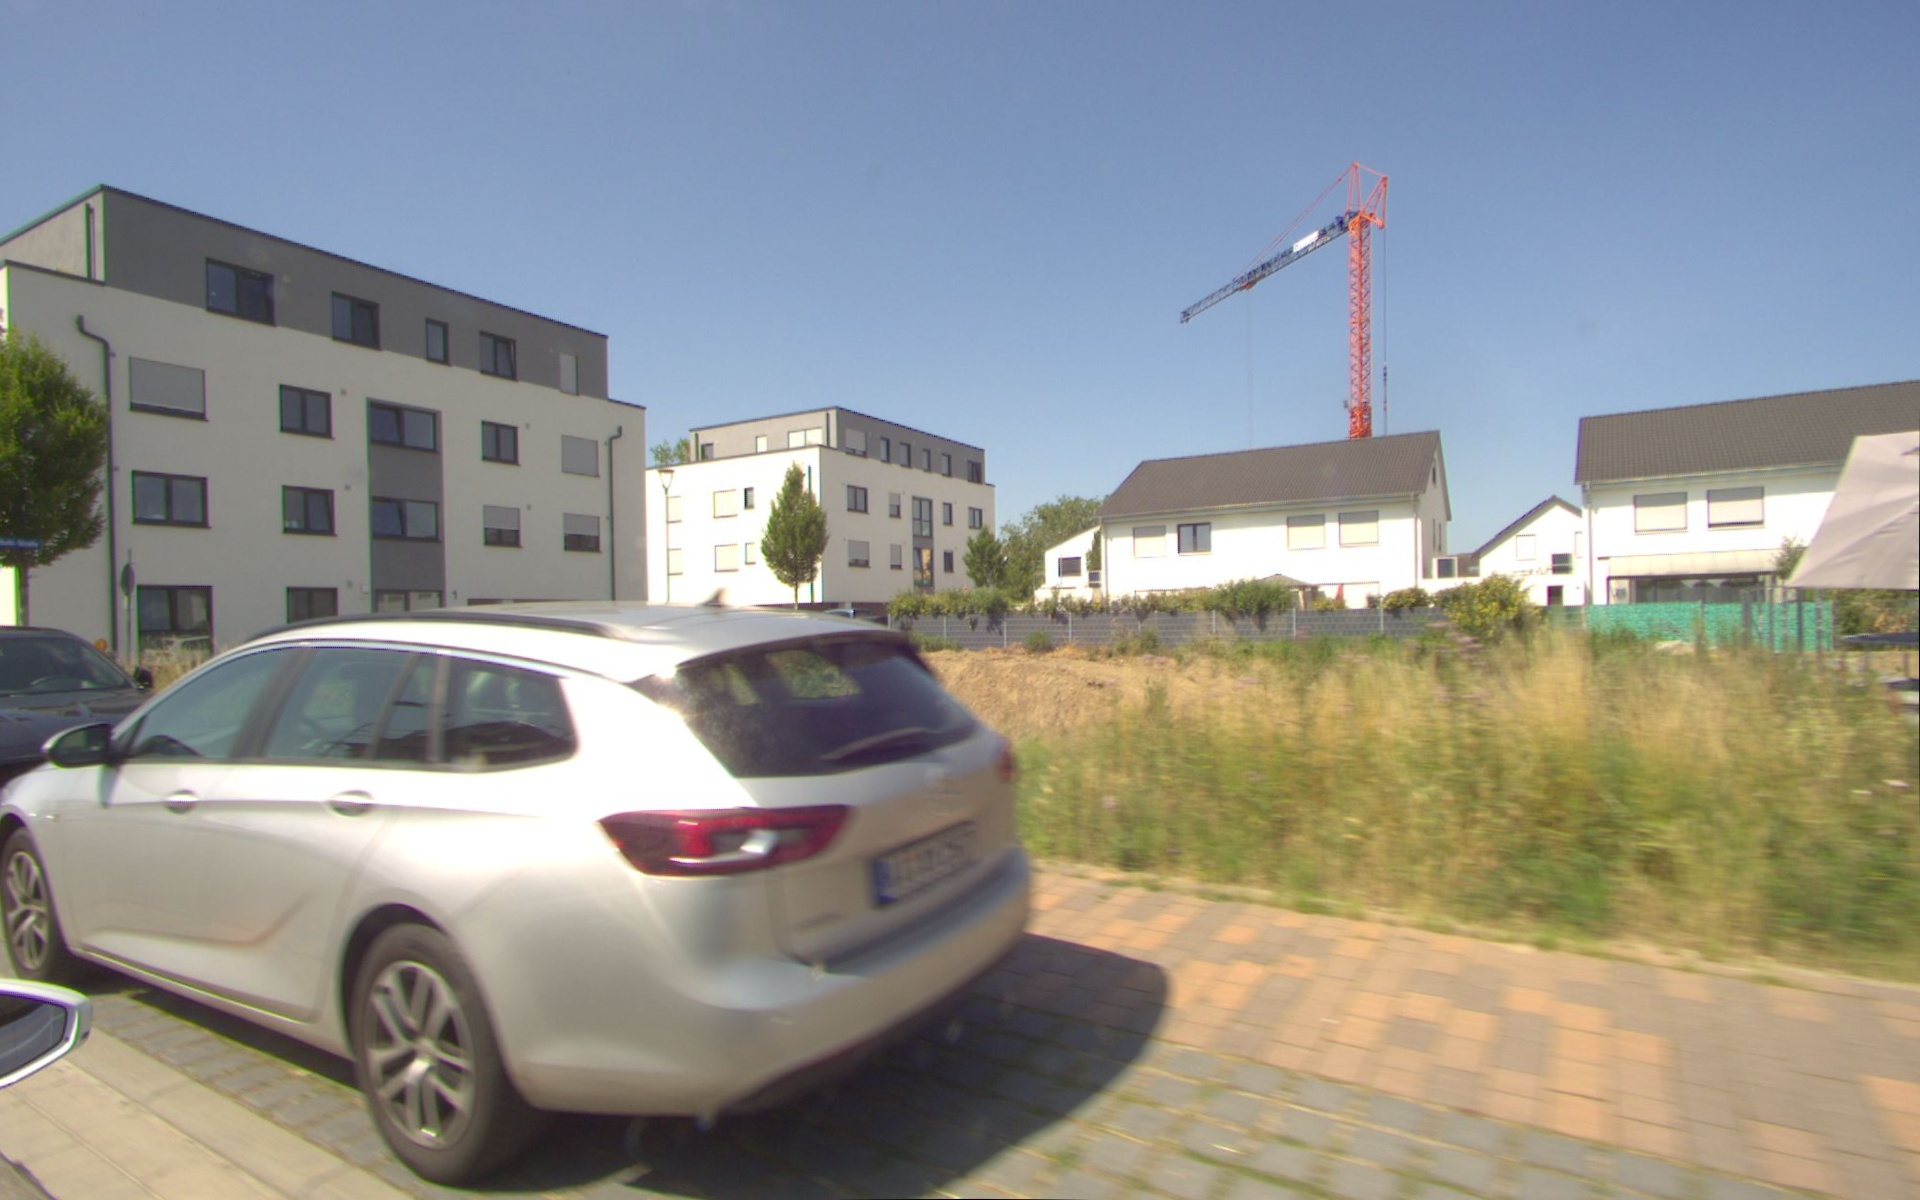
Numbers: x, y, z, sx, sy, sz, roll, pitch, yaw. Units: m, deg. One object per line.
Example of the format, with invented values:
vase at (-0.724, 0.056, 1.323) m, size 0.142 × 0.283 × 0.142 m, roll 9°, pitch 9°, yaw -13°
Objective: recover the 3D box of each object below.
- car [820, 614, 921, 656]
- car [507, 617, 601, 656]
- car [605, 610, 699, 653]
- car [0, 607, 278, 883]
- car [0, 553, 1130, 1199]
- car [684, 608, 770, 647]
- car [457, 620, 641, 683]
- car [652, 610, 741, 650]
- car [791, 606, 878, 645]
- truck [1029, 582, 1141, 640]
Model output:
car at (-3.428, 1.348, 39.064) m, size 1.855 × 1.497 × 4.153 m, roll -2°, pitch -1°, yaw 30°
car at (-17.294, 1.568, 42.622) m, size 3.626 × 1.522 × 1.873 m, roll -3°, pitch -1°, yaw 31°
car at (-14.291, 1.471, 46.438) m, size 4.112 × 1.833 × 1.873 m, roll -3°, pitch -1°, yaw 31°
car at (-7.187, 0.842, 7.257) m, size 5.068 × 1.489 × 1.913 m, roll -1°, pitch 1°, yaw 34°
car at (-2.119, 0.698, 4.079) m, size 5.218 × 1.531 × 1.914 m, roll -1°, pitch 1°, yaw 32°
car at (-11.996, 1.408, 51.507) m, size 4.112 × 1.833 × 1.873 m, roll -3°, pitch -1°, yaw 31°
car at (-10.602, 1.297, 26.127) m, size 1.855 × 1.454 × 4.153 m, roll -2°, pitch -1°, yaw 30°
car at (-12.907, 1.484, 48.999) m, size 4.112 × 1.833 × 1.873 m, roll -3°, pitch -1°, yaw 31°
car at (-6.363, 1.284, 50.523) m, size 4.116 × 1.833 × 1.871 m, roll -3°, pitch -1°, yaw 34°
truck at (8.026, 0.698, 63.960) m, size 6.863 × 3.434 × 2.291 m, roll -1°, pitch -2°, yaw -27°
